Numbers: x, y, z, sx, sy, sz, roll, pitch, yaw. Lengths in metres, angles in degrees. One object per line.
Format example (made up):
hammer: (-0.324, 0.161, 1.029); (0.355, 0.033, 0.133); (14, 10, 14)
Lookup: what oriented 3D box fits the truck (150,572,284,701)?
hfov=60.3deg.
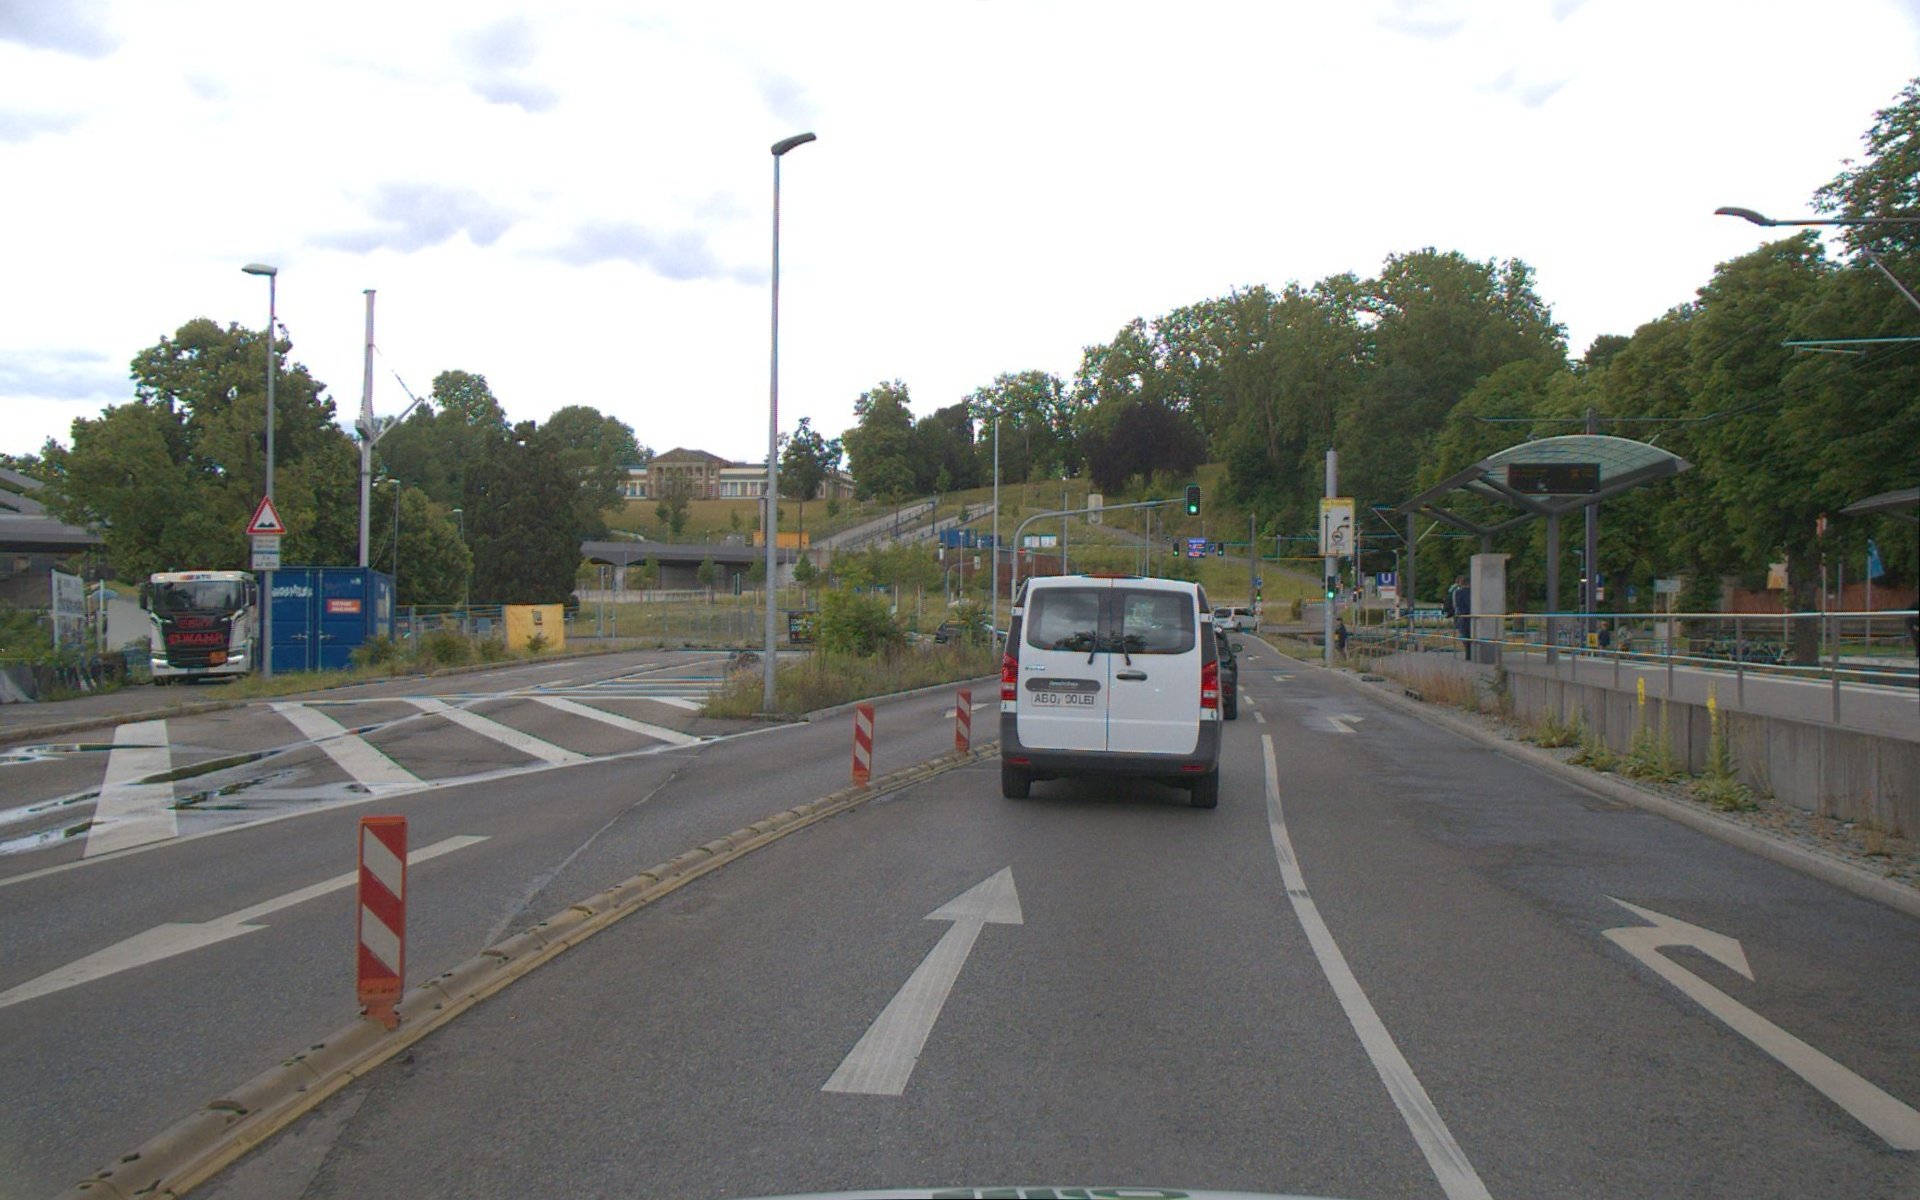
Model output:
truck: (-21.652, 1.018, 48.581); (2.750, 3.394, 8.431); (-1, 0, -19)

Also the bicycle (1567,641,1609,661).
bicycle: (31.269, 2.542, 82.308); (1.871, 0.992, 0.531); (-1, -1, 9)

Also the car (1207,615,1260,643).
car: (21.126, 2.227, 127.436); (2.161, 2.049, 5.136); (0, -2, 33)

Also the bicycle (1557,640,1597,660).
bicycle: (31.616, 2.552, 84.749); (1.871, 0.992, 0.531); (-1, -1, 9)

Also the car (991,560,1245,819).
car: (1.495, 0.741, 15.095); (1.917, 1.937, 4.464); (2, -1, 7)

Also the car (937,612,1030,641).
car: (1.259, 1.443, 89.184); (4.610, 1.503, 2.001); (-1, -1, 19)

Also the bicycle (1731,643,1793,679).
bicycle: (27.628, 2.107, 56.974); (1.833, 1.159, 0.533); (2, -2, 9)

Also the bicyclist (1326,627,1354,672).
bicyclist: (13.834, 1.794, 60.165); (0.795, 1.600, 0.612); (0, 0, -31)

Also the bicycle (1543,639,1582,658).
bicycle: (31.964, 2.577, 87.785); (1.871, 0.992, 0.531); (-1, -1, 9)

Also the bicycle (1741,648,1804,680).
bicycle: (27.570, 2.166, 56.135); (1.833, 0.980, 0.533); (2, -1, 9)

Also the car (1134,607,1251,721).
car: (3.973, 1.077, 28.514); (1.799, 1.759, 4.065); (2, -1, 7)

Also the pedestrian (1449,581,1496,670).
pedestrian: (10.196, 0.494, 32.944); (0.754, 1.729, 0.732); (2, 1, 10)

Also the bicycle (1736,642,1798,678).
bicycle: (28.239, 2.087, 57.884); (1.833, 1.159, 0.533); (2, -2, 9)

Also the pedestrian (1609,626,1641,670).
pedestrian: (25.309, 1.821, 62.950); (0.818, 1.637, 0.775); (0, -2, -14)

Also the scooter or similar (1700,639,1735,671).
scooter or similar: (28.373, 2.061, 61.945); (1.142, 1.159, 0.332); (2, -2, 33)

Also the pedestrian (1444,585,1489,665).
pedestrian: (10.313, 0.496, 33.710); (0.734, 1.580, 0.775); (2, 1, 10)

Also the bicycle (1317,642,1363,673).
bicycle: (13.821, 2.076, 60.147); (1.662, 1.093, 0.614); (0, 0, -31)

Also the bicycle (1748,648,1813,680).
bicycle: (27.485, 2.156, 55.413); (1.833, 0.980, 0.533); (2, -1, 9)

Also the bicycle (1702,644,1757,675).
bicycle: (28.031, 2.175, 60.259); (1.726, 1.052, 0.484); (2, -2, 9)

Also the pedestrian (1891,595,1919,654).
pedestrian: (22.430, 0.588, 38.826); (0.659, 1.347, 0.968); (2, -1, 7)
